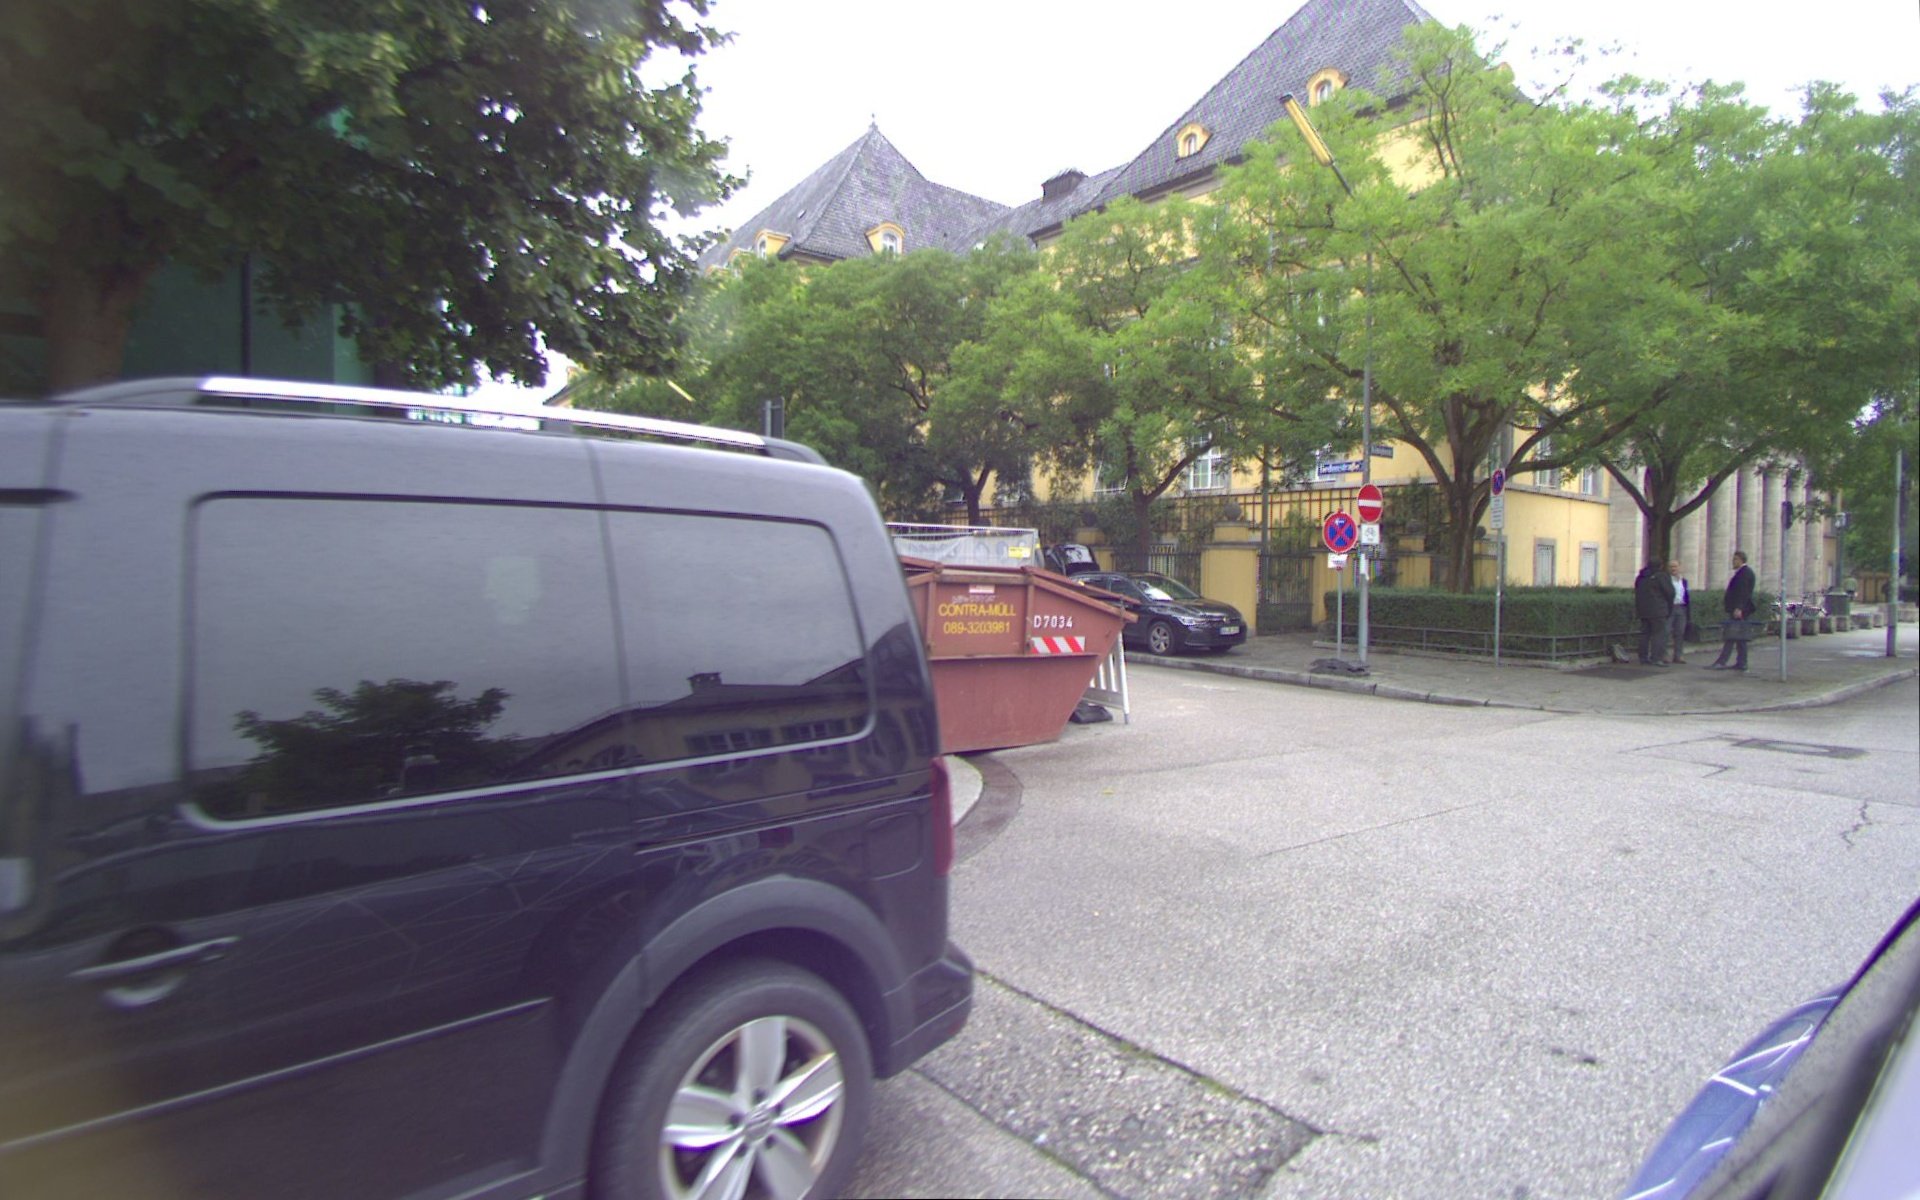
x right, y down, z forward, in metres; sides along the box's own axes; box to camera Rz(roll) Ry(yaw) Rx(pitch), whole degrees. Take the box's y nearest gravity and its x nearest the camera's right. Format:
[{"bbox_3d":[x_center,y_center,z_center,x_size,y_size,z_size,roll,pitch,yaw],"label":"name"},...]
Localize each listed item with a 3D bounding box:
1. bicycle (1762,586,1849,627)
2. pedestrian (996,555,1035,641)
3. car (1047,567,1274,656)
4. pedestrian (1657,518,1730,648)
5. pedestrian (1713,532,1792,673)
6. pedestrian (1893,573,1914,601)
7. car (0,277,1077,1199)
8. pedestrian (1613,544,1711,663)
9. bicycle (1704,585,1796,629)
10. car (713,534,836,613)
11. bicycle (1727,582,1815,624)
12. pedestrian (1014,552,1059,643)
[{"bbox_3d":[25.665,0.180,30.743,0.463,1.127,1.935,0,3,-41],"label":"bicycle"},{"bbox_3d":[1.169,-0.053,21.358,0.559,1.773,0.581,2,2,41],"label":"pedestrian"},{"bbox_3d":[3.695,0.118,19.361,1.833,1.504,4.221,-1,2,-34],"label":"car"},{"bbox_3d":[12.662,-0.305,17.466,1.037,2.161,0.744,-1,2,-40],"label":"pedestrian"},{"bbox_3d":[12.683,0.017,16.186,1.037,2.161,0.744,-1,2,-40],"label":"pedestrian"},{"bbox_3d":[60.664,-0.833,65.064,1.037,1.767,0.790,-1,2,-40],"label":"pedestrian"},{"bbox_3d":[-1.812,0.479,2.075,4.065,1.846,1.764,-1,1,-39],"label":"car"},{"bbox_3d":[11.641,0.045,16.805,1.035,1.931,0.745,1,2,-3],"label":"pedestrian"},{"bbox_3d":[22.163,0.182,28.424,0.462,1.127,1.938,0,3,-36],"label":"bicycle"},{"bbox_3d":[-6.515,-0.954,34.908,2.113,2.492,5.700,-2,2,-33],"label":"car"},{"bbox_3d":[23.739,0.082,29.661,0.462,1.127,1.938,0,3,-36],"label":"bicycle"},{"bbox_3d":[1.567,-0.073,20.788,0.667,1.832,0.677,2,2,32],"label":"pedestrian"}]
